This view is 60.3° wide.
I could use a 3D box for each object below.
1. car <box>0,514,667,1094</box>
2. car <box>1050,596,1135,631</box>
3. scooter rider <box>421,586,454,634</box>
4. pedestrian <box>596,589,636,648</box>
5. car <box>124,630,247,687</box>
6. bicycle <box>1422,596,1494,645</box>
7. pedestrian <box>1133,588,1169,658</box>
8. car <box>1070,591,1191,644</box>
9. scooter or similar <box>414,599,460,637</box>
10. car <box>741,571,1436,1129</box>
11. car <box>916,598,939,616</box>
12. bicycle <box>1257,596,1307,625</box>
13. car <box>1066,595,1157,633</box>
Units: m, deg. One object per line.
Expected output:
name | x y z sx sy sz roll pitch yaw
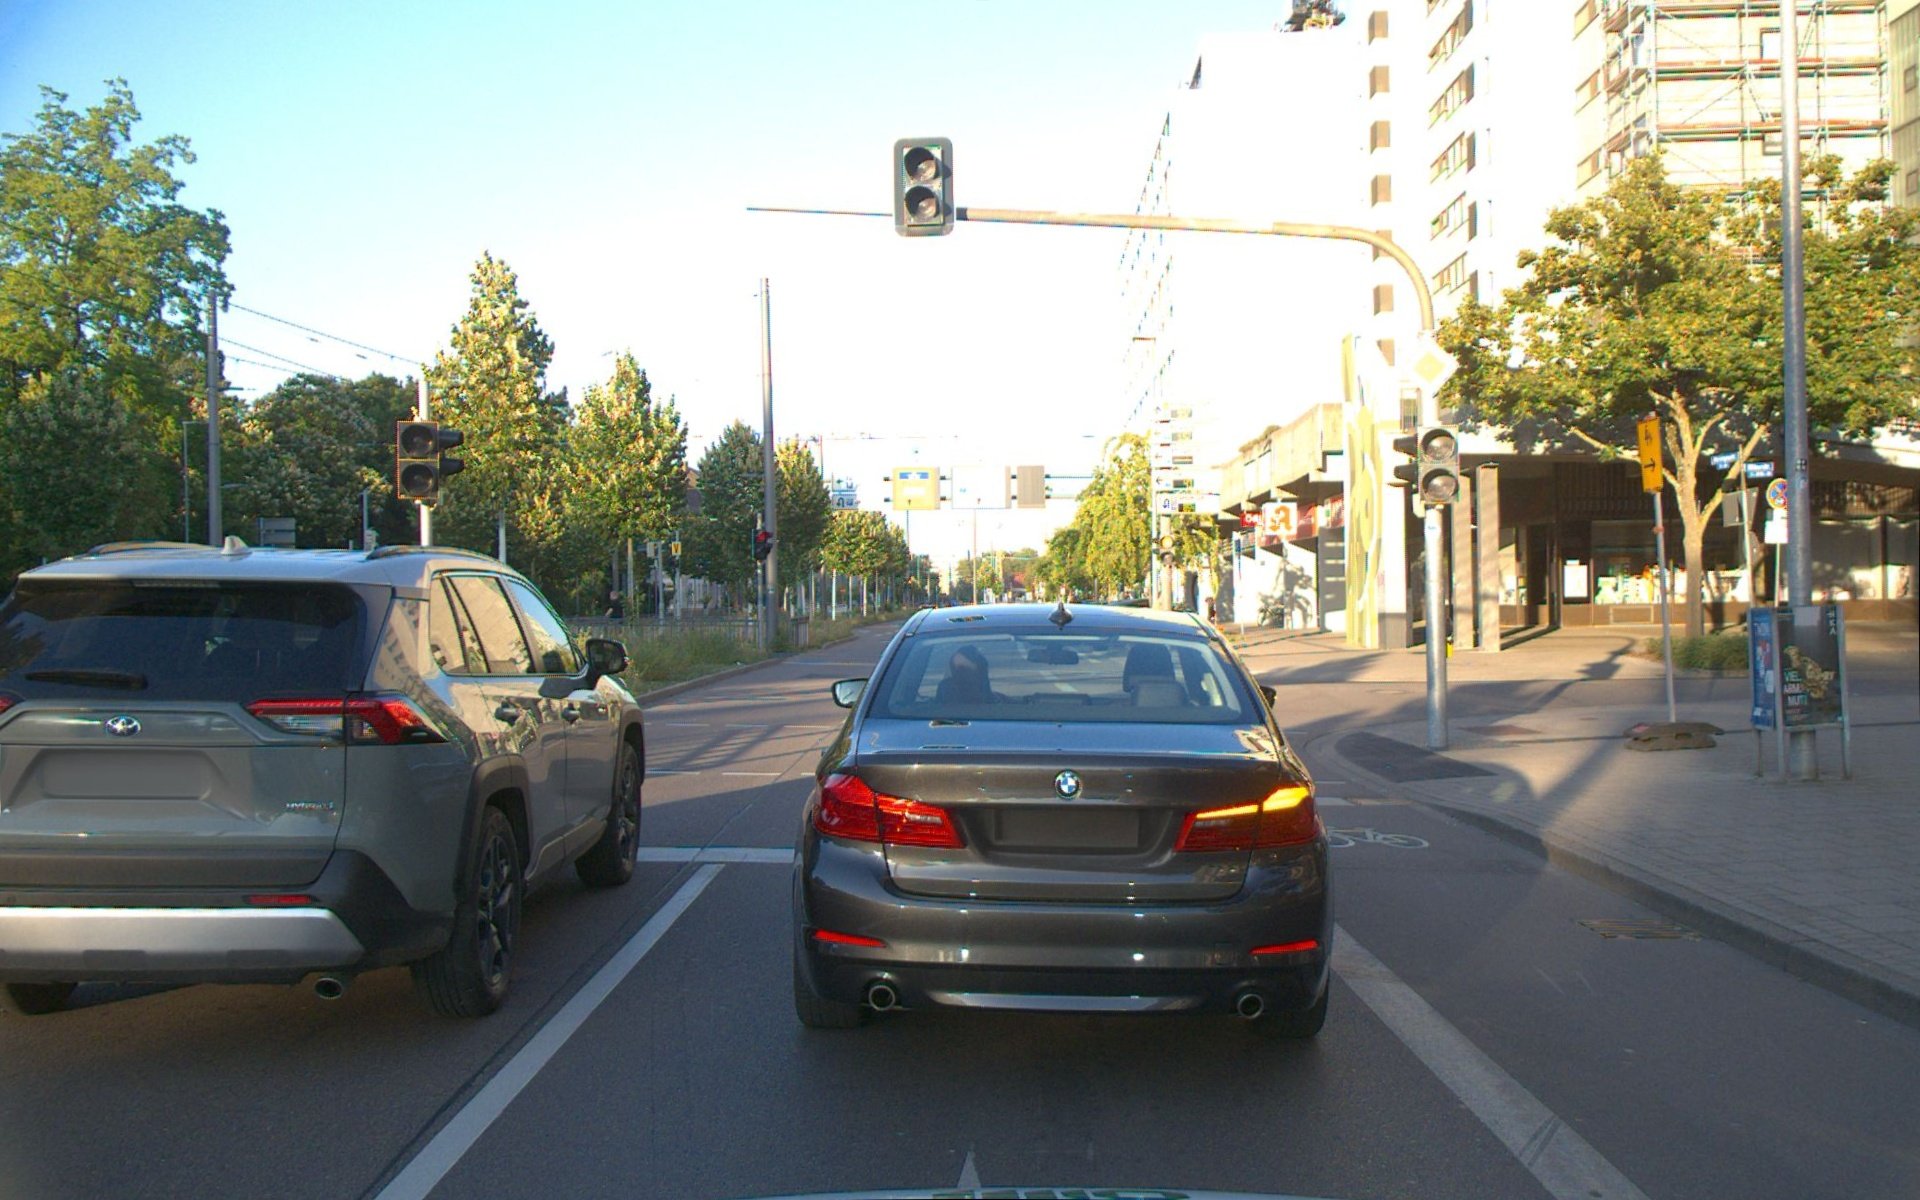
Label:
car | -2.516 0.550 6.946 1.816 1.687 4.268 0 1 0
car | 6.839 0.665 85.244 4.219 1.687 1.838 0 1 -36
scooter rider | -16.959 0.313 53.687 0.803 1.540 0.653 -1 0 3
pedestrian | -9.531 0.515 45.834 0.817 1.614 0.813 -1 0 10
car | -22.526 1.668 48.264 1.763 1.507 3.783 -1 0 0
bicycle | 12.494 0.514 41.519 0.678 1.169 2.012 2 -1 -18
pedestrian | 4.860 0.585 42.134 0.818 1.742 0.647 -1 0 -2
car | 5.880 0.563 56.801 4.234 1.687 1.831 -1 1 -43
scooter or similar | -16.949 0.580 53.655 1.301 1.173 0.514 -1 0 2
car | 0.364 0.648 6.792 1.892 1.507 4.523 0 1 0
car | -2.877 0.631 146.890 1.938 1.458 4.843 0 1 0
bicycle | 13.456 0.440 69.162 1.974 1.169 0.691 2 -1 6
car | 7.242 0.640 78.992 4.221 1.687 1.837 0 1 -36
